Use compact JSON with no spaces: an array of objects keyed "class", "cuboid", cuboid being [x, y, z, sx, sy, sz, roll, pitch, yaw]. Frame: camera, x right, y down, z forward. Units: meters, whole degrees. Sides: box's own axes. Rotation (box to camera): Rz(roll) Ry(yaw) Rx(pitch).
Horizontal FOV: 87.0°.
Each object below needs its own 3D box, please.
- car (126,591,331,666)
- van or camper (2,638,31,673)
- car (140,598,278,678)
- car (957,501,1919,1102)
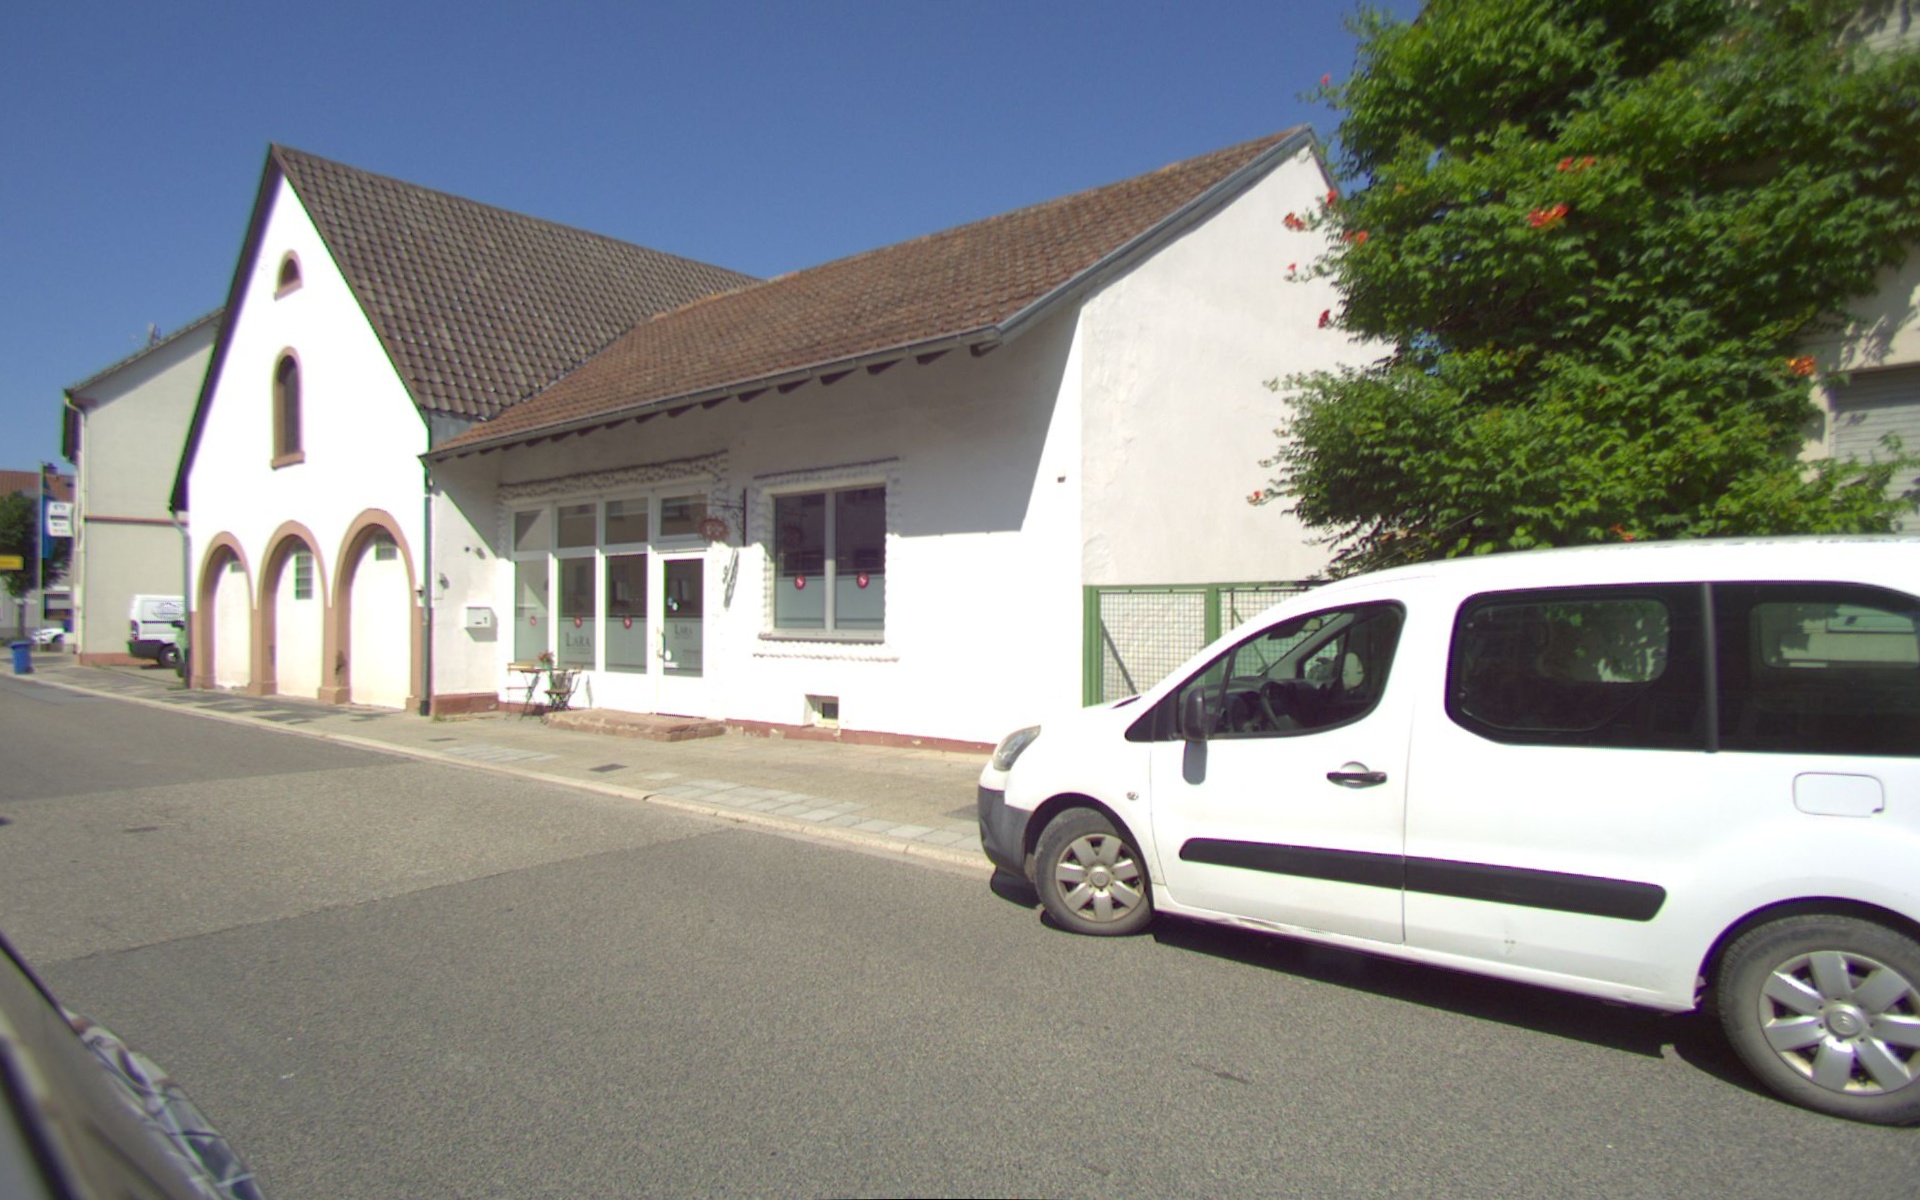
[{"class":"car","cuboid":[-23.092,0.851,32.077,5.112,2.213,2.125,0,-1,-41]},{"class":"van or camper","cuboid":[-27.037,1.579,29.012,0.600,0.959,0.583,-2,-2,44]},{"class":"car","cuboid":[-20.200,0.971,27.157,4.665,1.979,1.973,-1,-1,40]},{"class":"car","cuboid":[2.254,0.580,4.353,4.427,1.659,1.836,-1,-1,41]}]
